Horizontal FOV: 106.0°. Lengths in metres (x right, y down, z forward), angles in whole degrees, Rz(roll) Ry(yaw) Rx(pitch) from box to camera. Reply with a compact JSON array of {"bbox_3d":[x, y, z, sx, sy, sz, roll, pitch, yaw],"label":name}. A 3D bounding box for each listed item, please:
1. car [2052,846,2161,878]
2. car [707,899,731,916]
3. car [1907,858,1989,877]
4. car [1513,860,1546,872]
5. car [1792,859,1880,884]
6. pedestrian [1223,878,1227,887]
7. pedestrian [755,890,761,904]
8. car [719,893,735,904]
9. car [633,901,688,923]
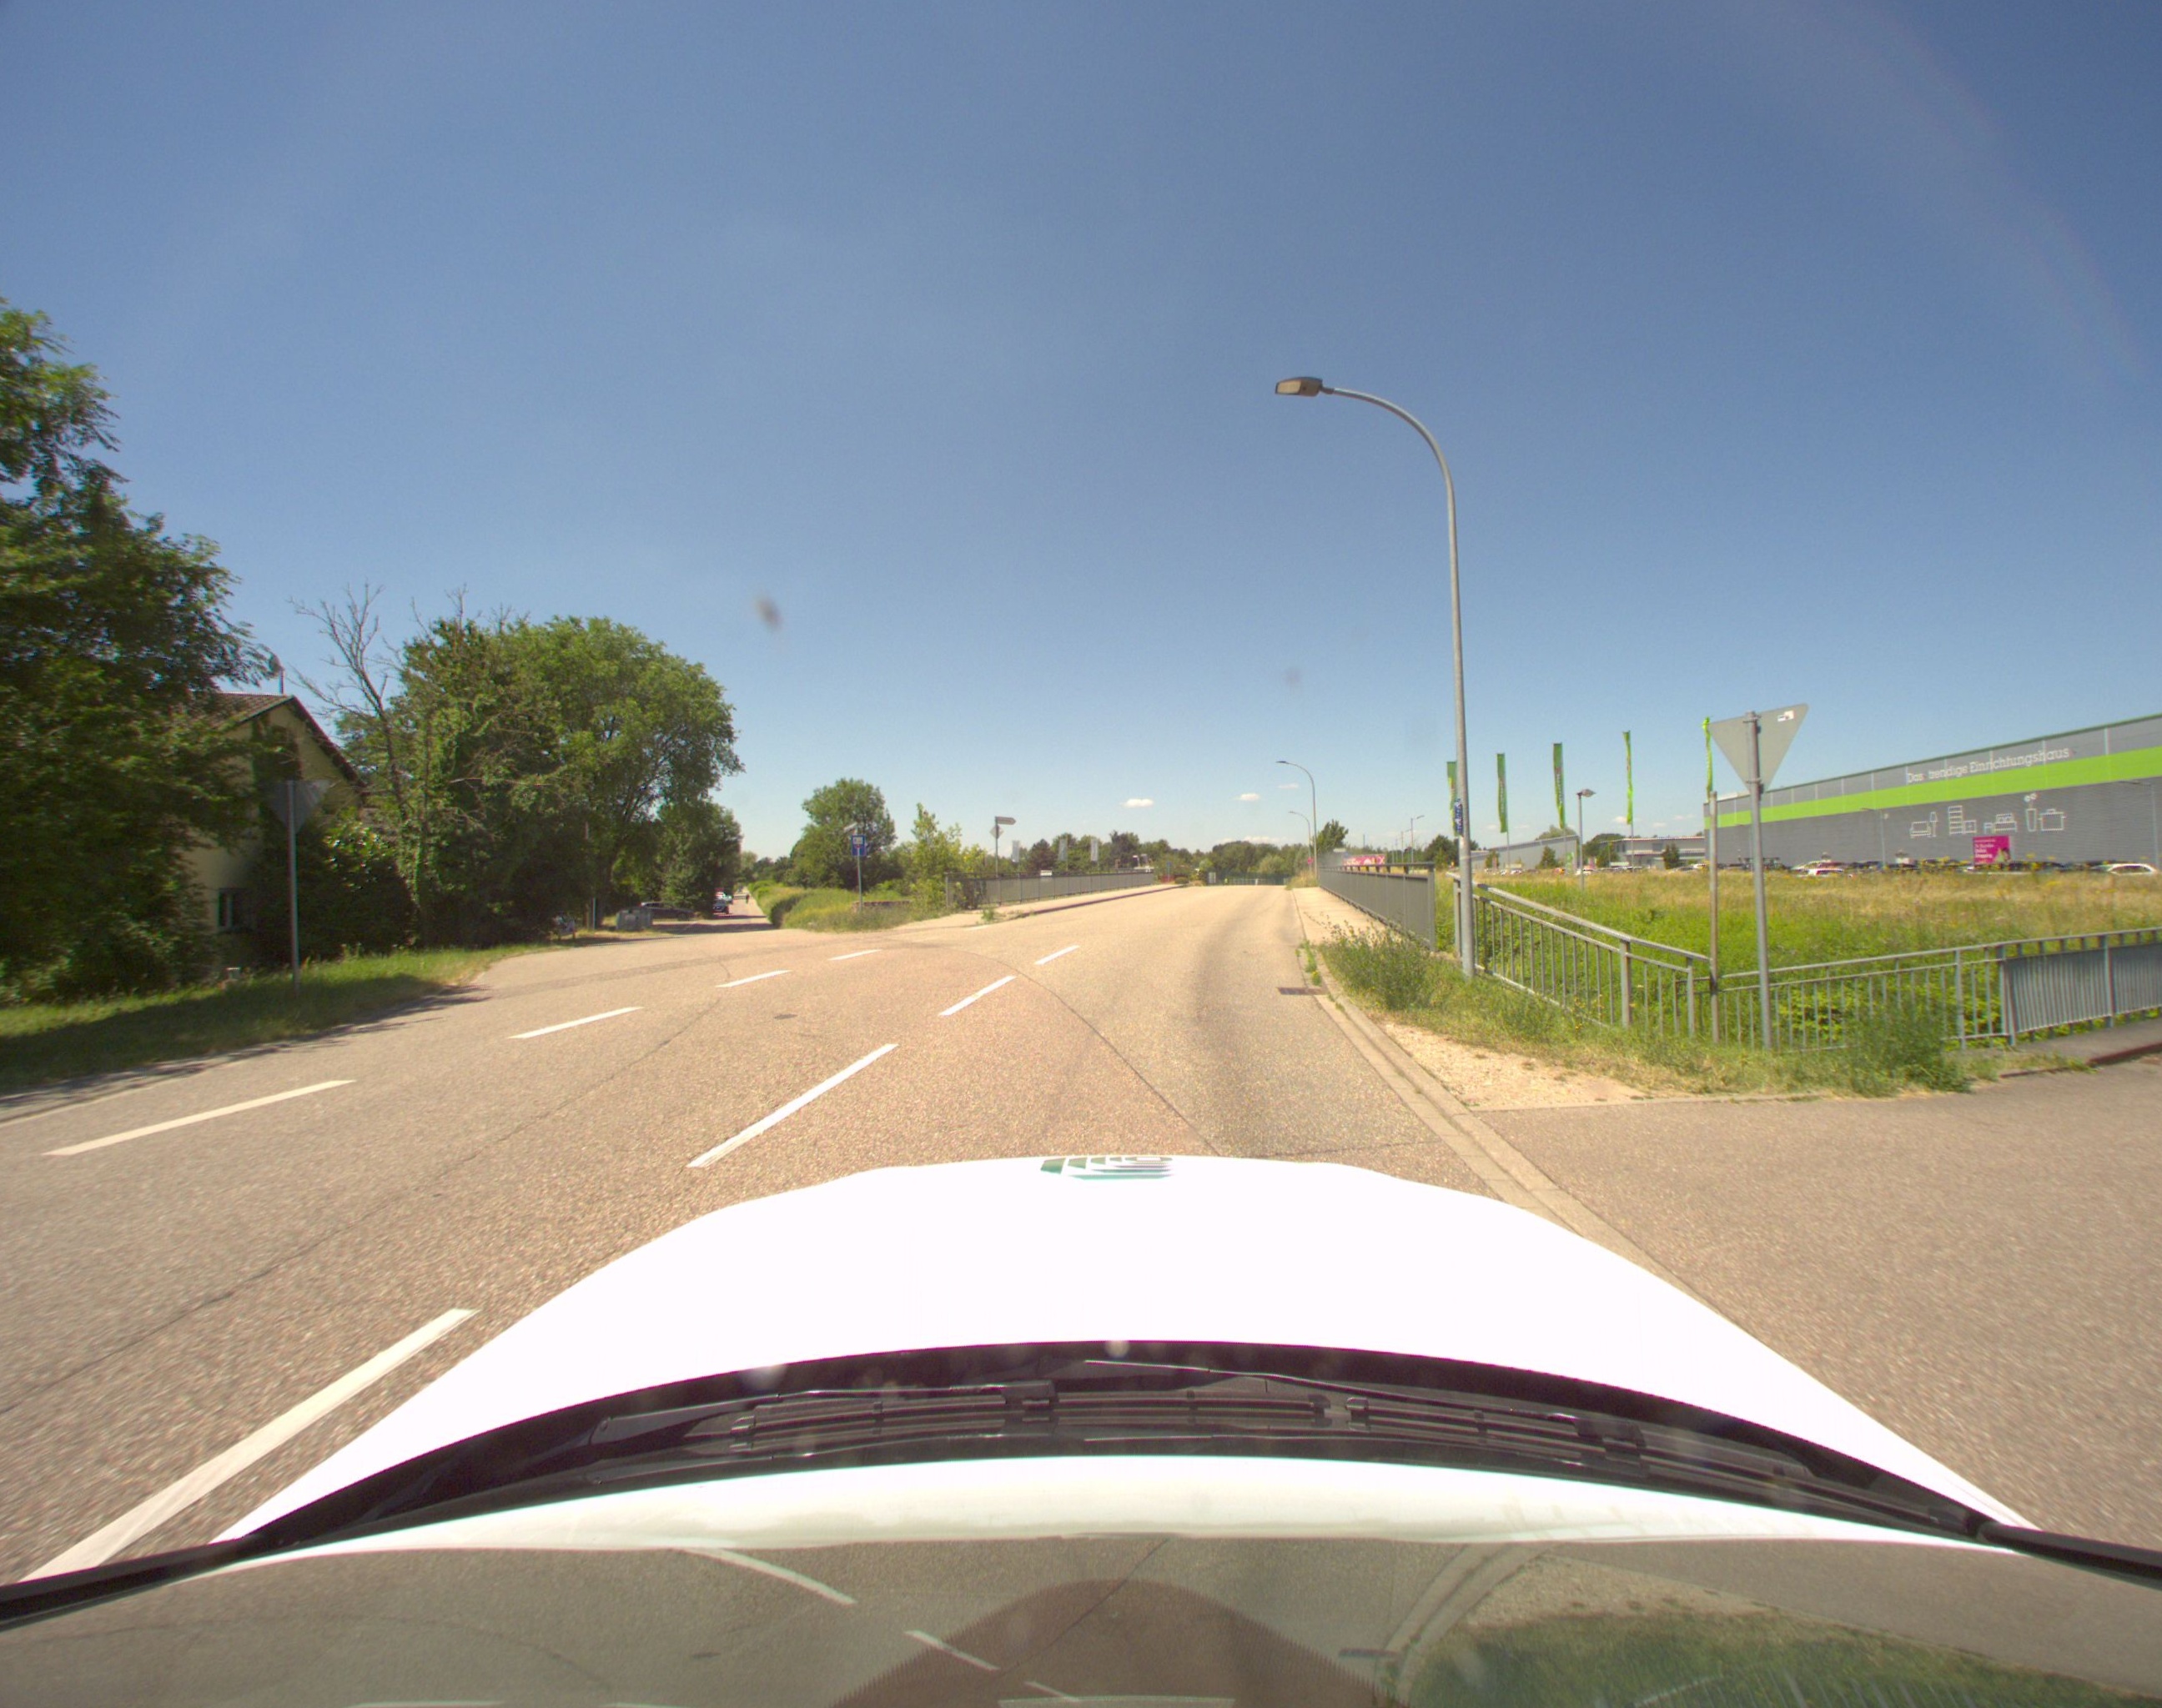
[{"bbox_3d":[53.965,0.431,42.324,3.953,1.505,1.957,-3,-3,20],"label":"car"},{"bbox_3d":[-38.827,5.709,87.308,2.005,1.596,3.963,-2,-1,-28],"label":"car"},{"bbox_3d":[78.131,1.229,73.476,4.618,1.519,2.007,-2,-3,14],"label":"car"},{"bbox_3d":[60.984,1.621,110.711,3.704,1.570,1.900,-1,-1,20],"label":"car"},{"bbox_3d":[51.846,1.243,56.029,3.953,1.531,1.957,-3,-3,20],"label":"car"},{"bbox_3d":[29.672,5.799,167.530,0.600,1.839,0.809,-3,-3,22],"label":"pedestrian"},{"bbox_3d":[-46.498,6.187,117.219,0.615,2.014,0.620,-2,-1,-28],"label":"pedestrian"},{"bbox_3d":[-56.880,7.092,130.652,2.005,1.596,3.963,-2,-1,-28],"label":"car"},{"bbox_3d":[-35.506,4.865,68.864,4.006,1.571,1.984,-2,-1,-25],"label":"car"}]
